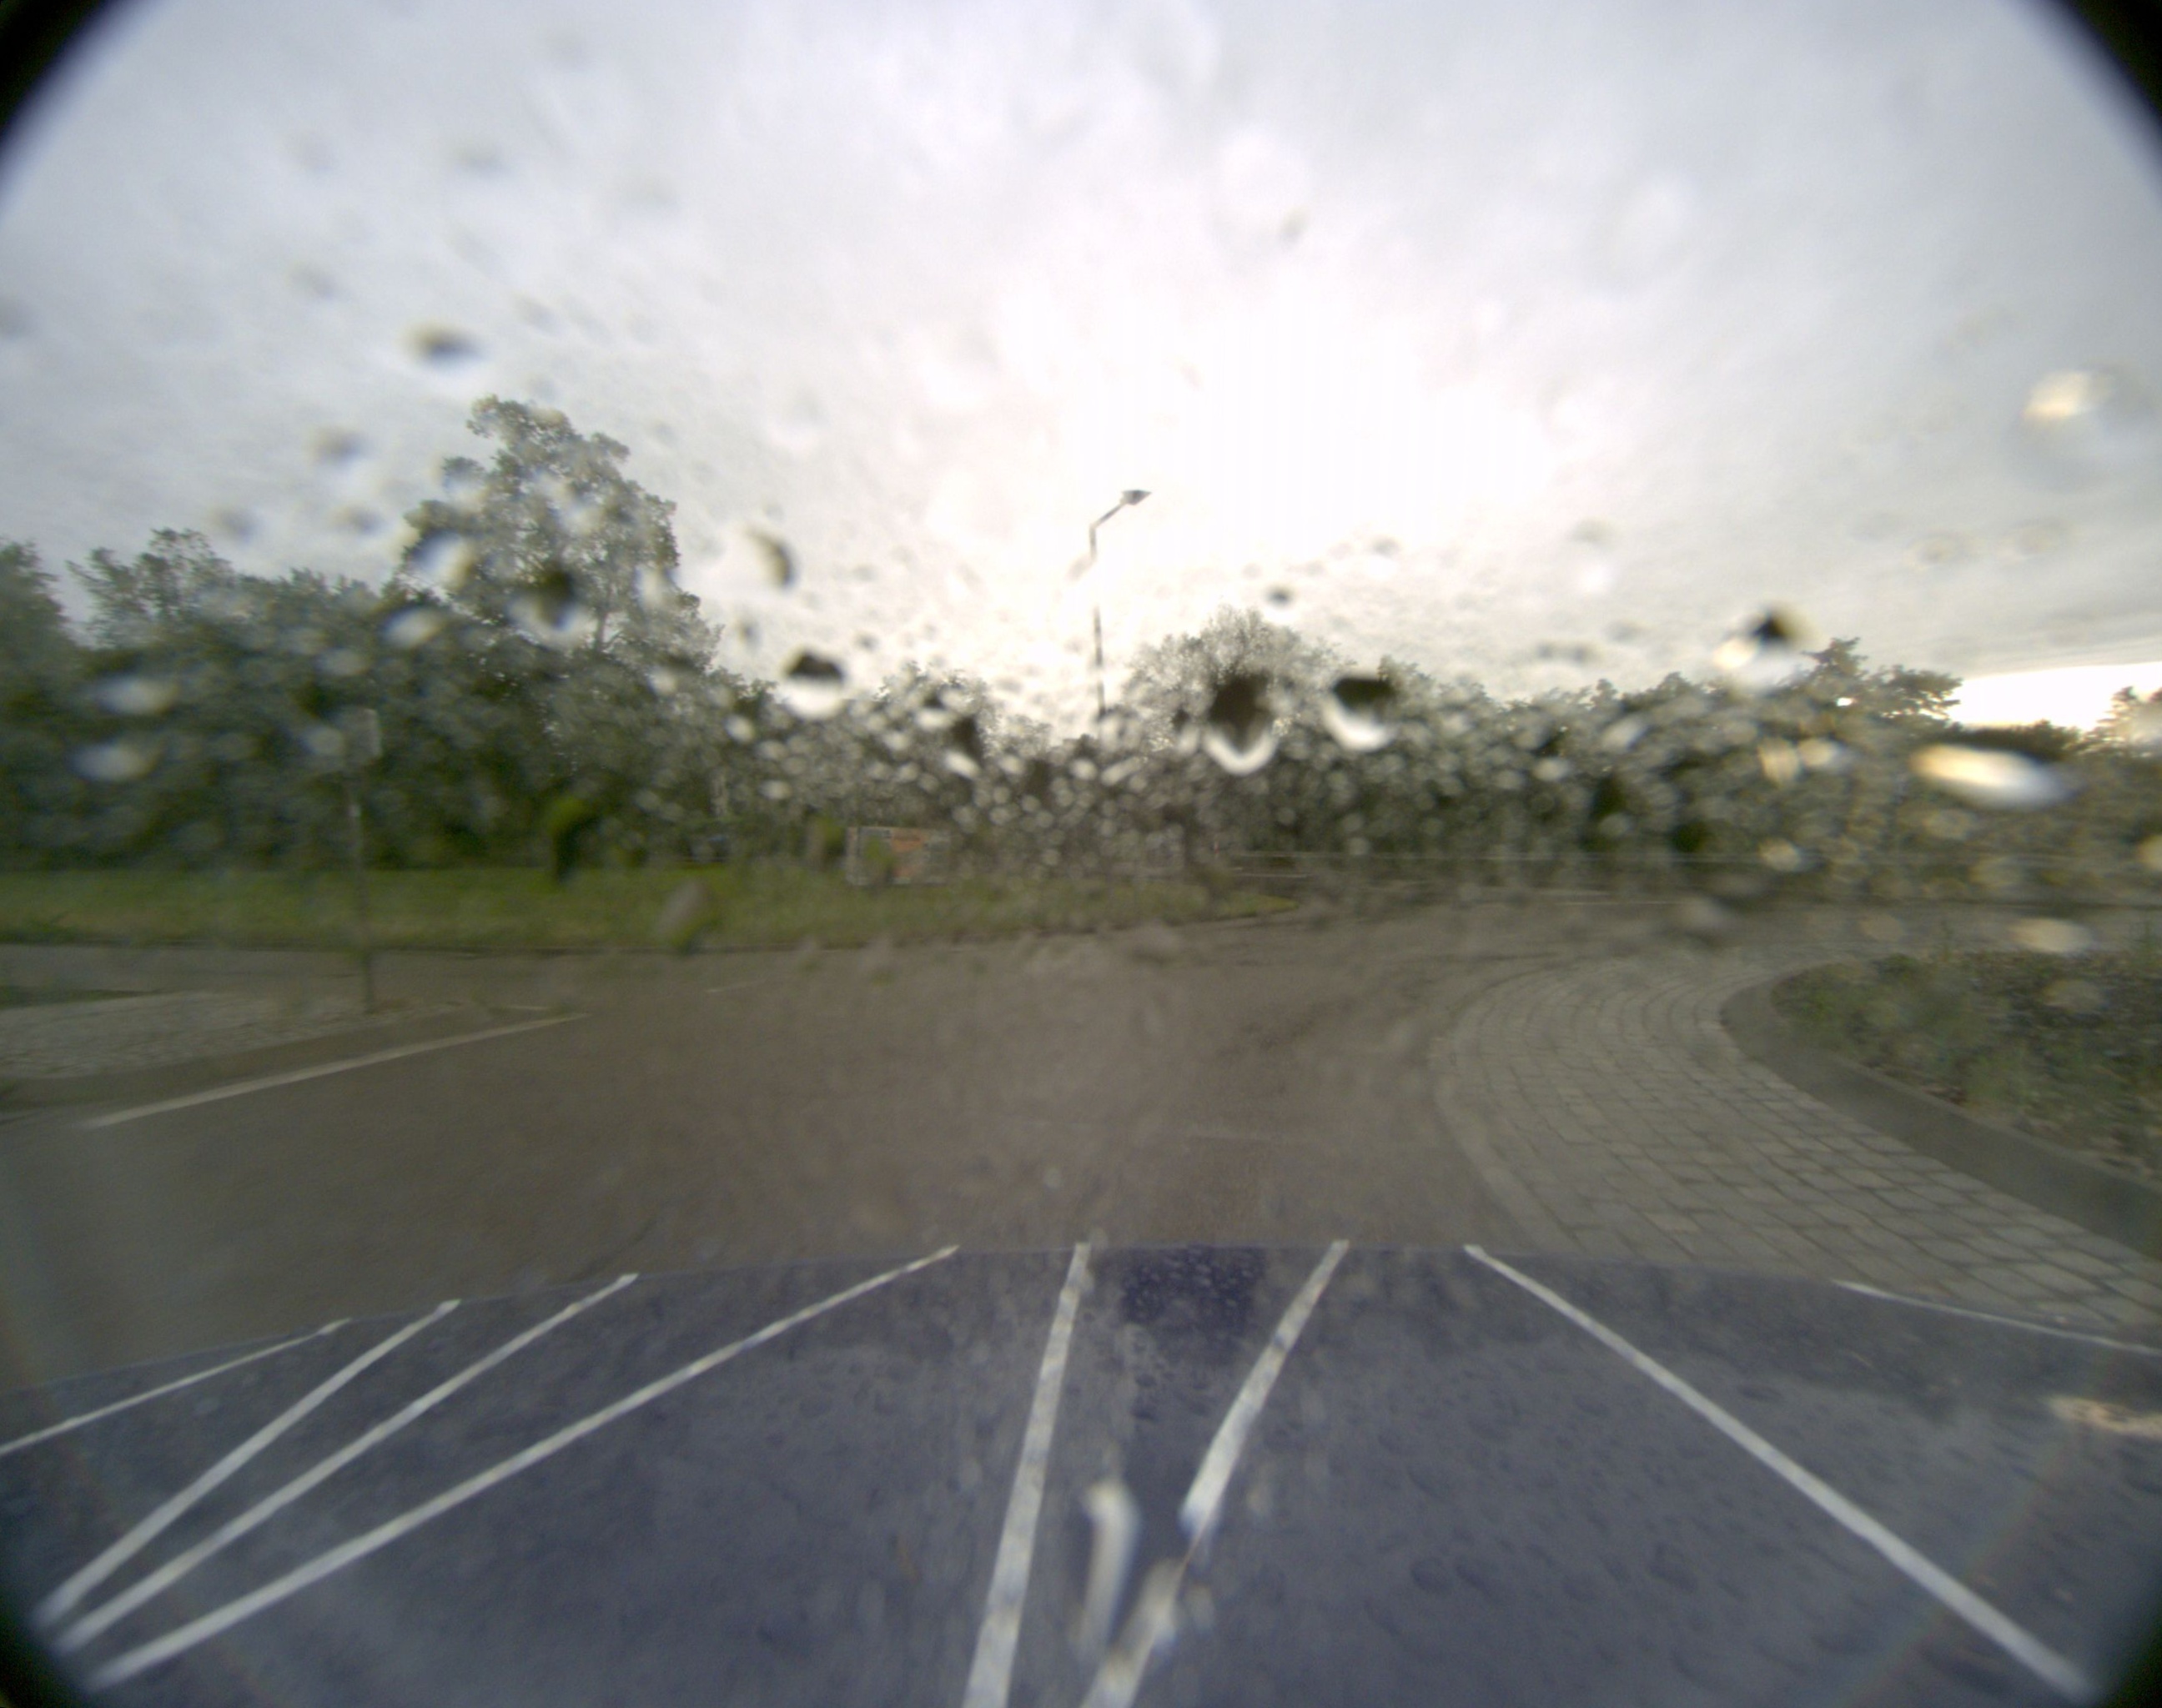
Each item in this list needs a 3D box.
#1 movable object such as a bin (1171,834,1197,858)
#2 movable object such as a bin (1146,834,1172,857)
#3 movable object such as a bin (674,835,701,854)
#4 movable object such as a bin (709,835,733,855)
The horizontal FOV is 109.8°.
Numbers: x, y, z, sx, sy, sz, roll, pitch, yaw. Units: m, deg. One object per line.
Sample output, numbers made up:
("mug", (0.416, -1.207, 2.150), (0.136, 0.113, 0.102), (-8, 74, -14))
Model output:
("movable object such as a bin", (6.335, -0.499, 46.643), (1.072, 1.335, 1.200), (0, 6, 42))
("movable object such as a bin", (4.850, -0.545, 47.371), (1.072, 1.429, 1.200), (1, 3, 44))
("movable object such as a bin", (-30.030, -0.698, 57.952), (1.425, 1.429, 1.200), (0, 2, 27))
("movable object such as a bin", (-26.890, -0.648, 56.765), (1.072, 1.429, 1.199), (0, 4, 27))
